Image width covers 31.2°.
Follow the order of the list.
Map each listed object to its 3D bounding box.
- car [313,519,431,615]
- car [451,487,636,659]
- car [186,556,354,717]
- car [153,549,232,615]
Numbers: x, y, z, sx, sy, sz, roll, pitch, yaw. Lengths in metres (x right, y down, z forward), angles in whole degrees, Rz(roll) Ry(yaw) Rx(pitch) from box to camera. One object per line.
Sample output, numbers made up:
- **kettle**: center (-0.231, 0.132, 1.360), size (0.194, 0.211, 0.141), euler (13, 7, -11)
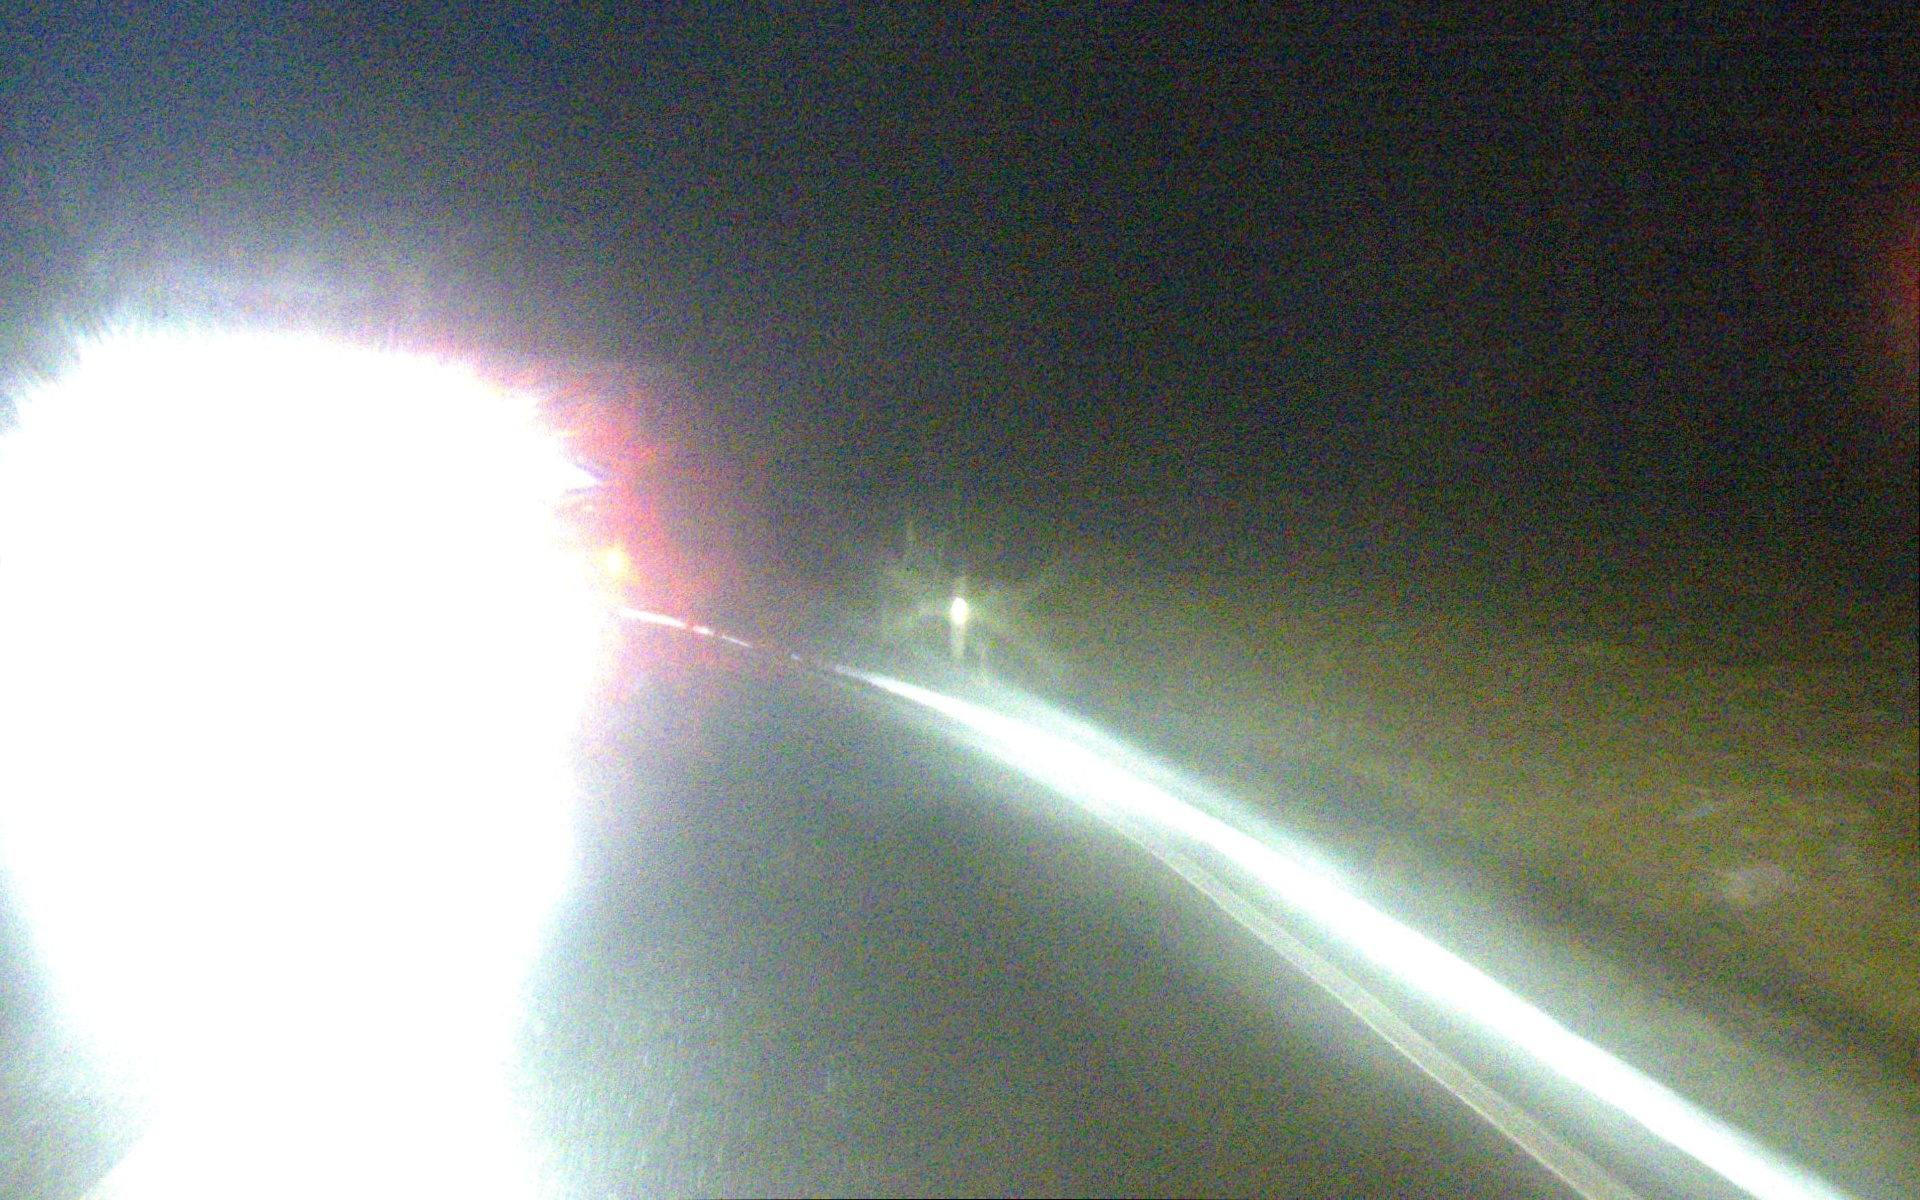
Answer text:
- **car**: center (-13.427, -0.721, 78.367), size (1.993, 2.007, 4.001), euler (3, -2, -18)
- **car**: center (-6.449, -0.473, 52.670), size (2.538, 2.489, 5.716), euler (0, 2, -10)
- **car**: center (-9.343, 0.506, 46.842), size (1.993, 2.007, 4.846), euler (2, -1, -9)
- **car**: center (-18.221, -0.449, 81.494), size (1.635, 1.504, 4.097), euler (-1, 1, -15)
